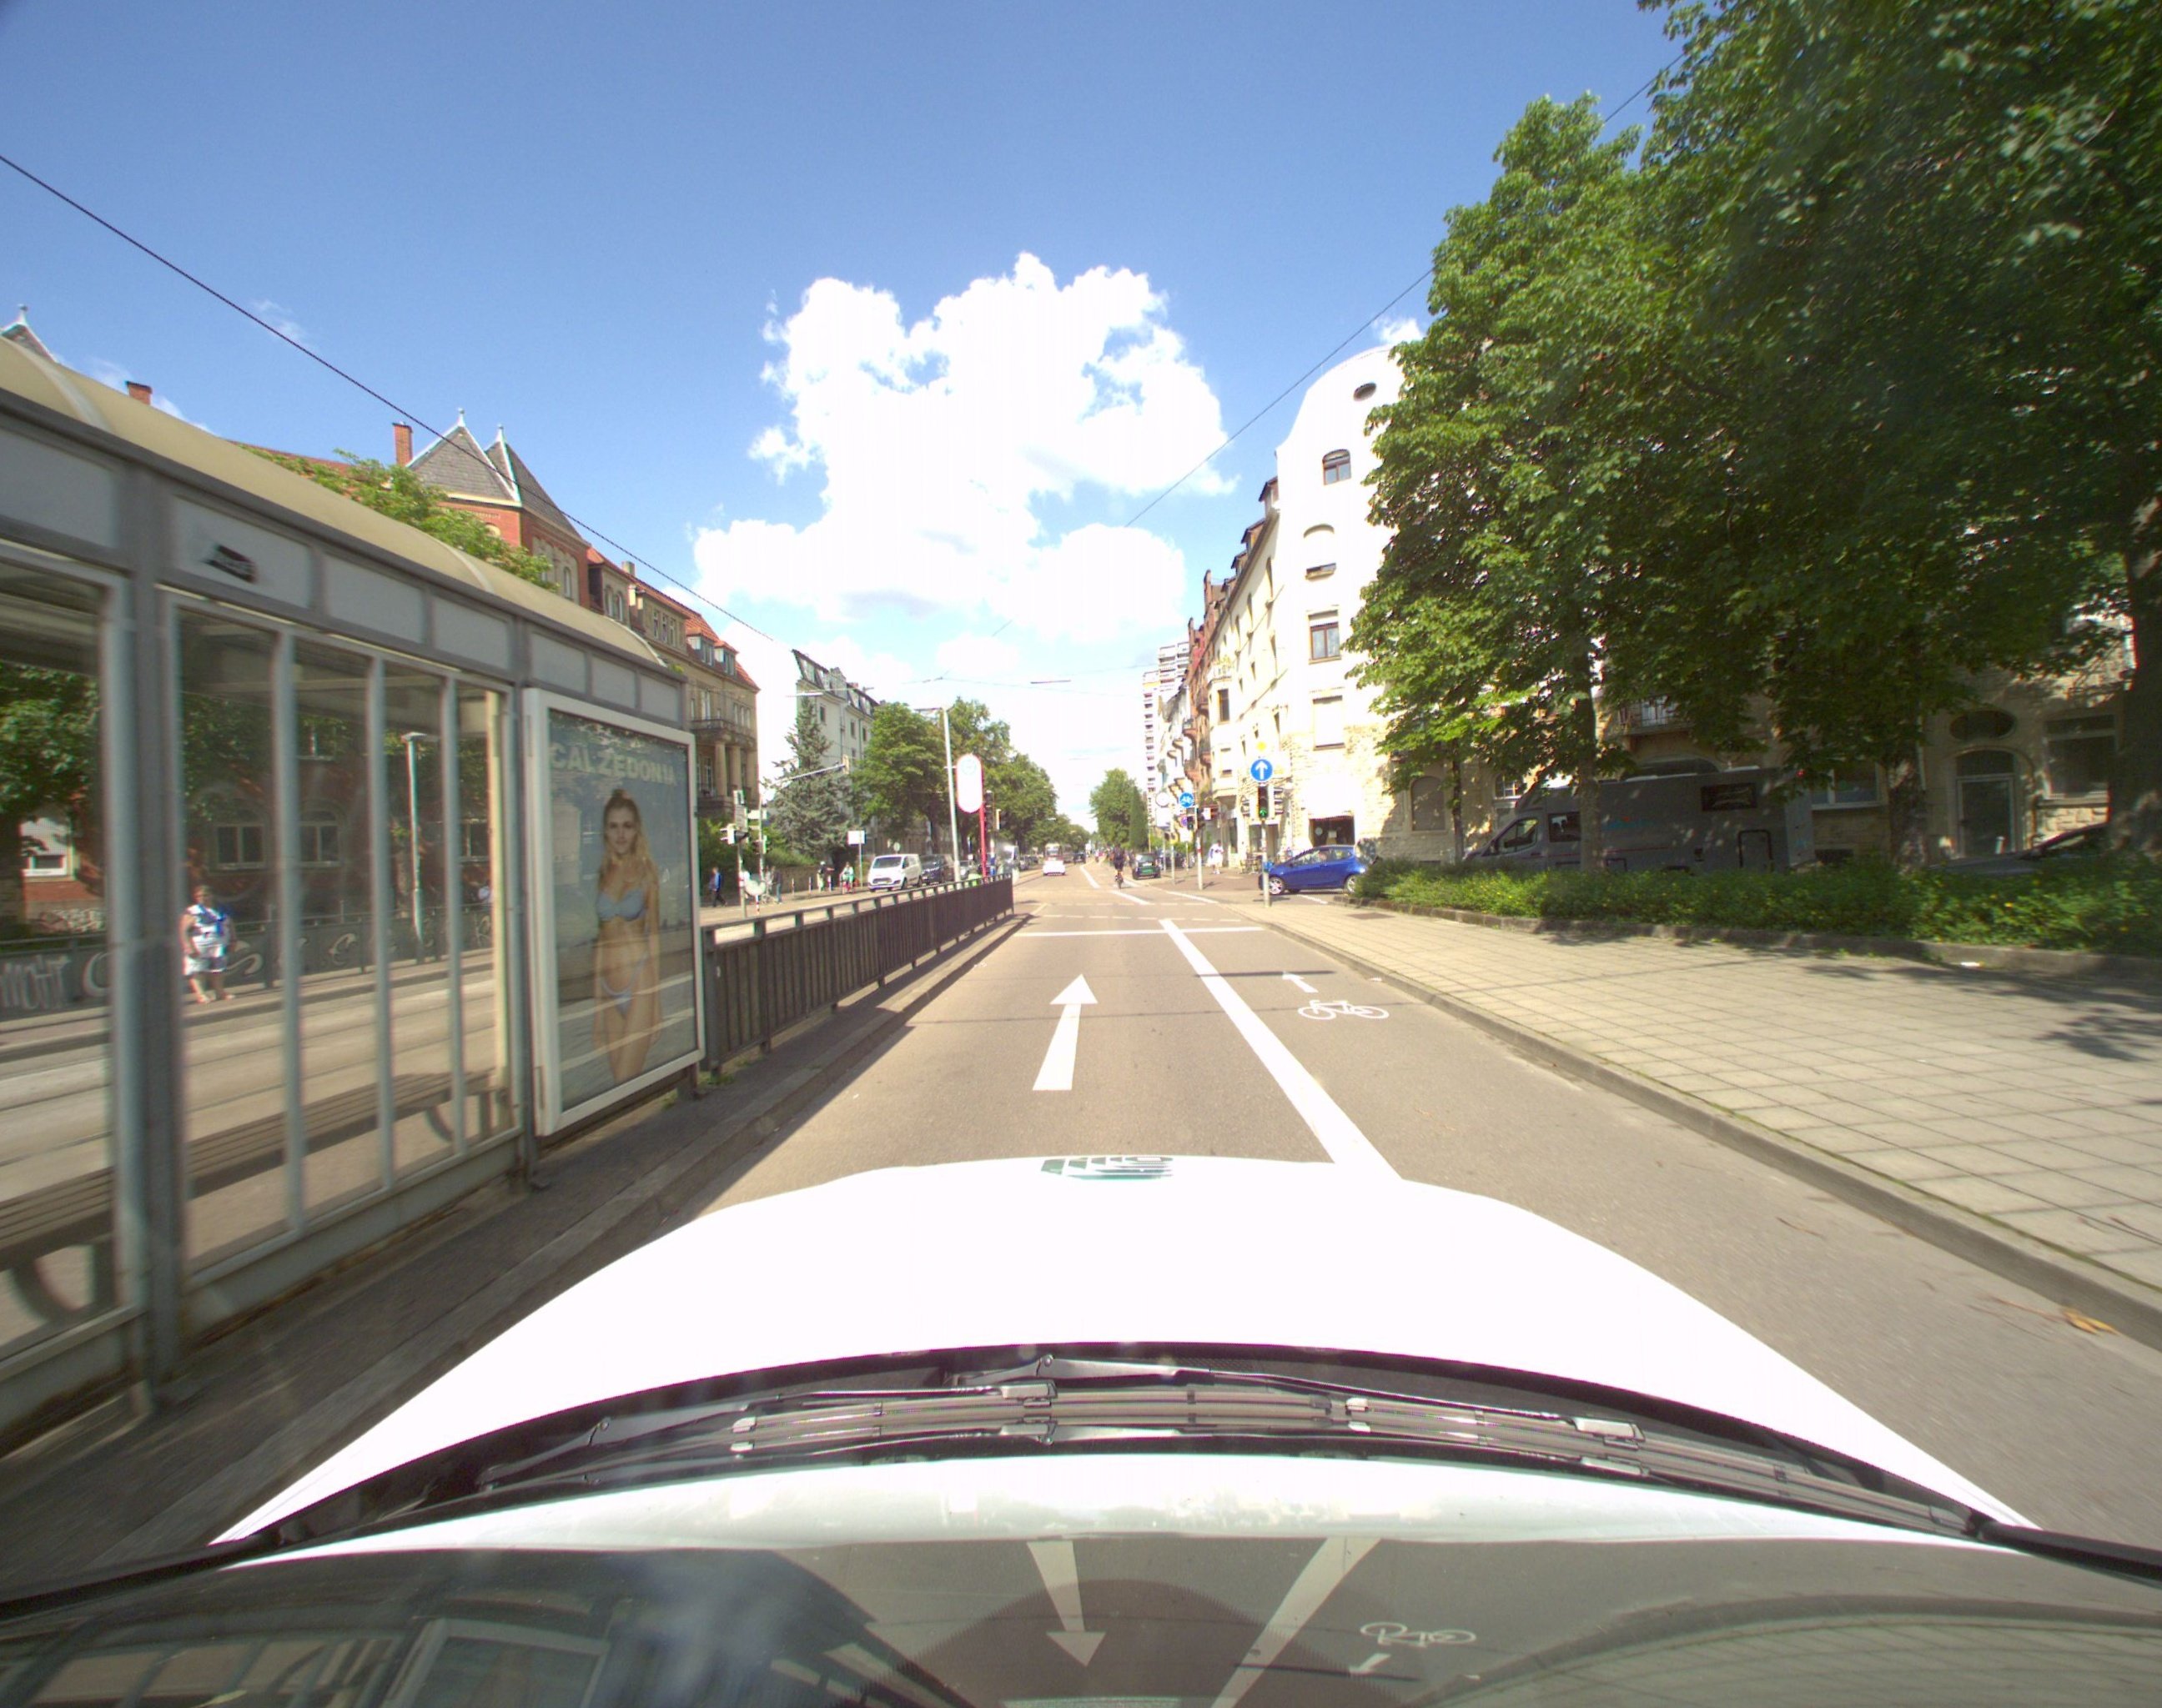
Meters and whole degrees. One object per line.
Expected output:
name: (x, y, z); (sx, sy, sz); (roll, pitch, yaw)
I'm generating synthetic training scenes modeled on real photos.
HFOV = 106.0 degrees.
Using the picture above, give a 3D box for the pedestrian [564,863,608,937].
pedestrian: (-10.663, 0.984, 17.556); (0.535, 1.542, 0.516); (-3, 2, 1)

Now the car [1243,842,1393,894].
car: (7.225, 0.437, 24.992); (3.948, 1.419, 1.904); (-2, 0, 37)

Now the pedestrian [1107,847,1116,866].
pedestrian: (3.044, 0.221, 81.605); (0.786, 1.862, 0.579); (-2, -4, -5)

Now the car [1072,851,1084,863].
car: (-0.424, 0.461, 120.701); (1.659, 1.624, 3.622); (-2, 0, 2)

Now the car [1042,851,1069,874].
car: (-1.835, 0.605, 60.130); (1.658, 1.625, 3.624); (0, -1, 4)

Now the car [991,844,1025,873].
car: (-6.822, 0.364, 76.779); (2.306, 2.507, 6.368); (-2, 1, 3)

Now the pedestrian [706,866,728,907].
pedestrian: (-15.368, 1.340, 34.396); (0.622, 1.698, 0.846); (0, -1, -10)

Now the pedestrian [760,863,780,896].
pedestrian: (-15.565, 1.273, 40.762); (0.515, 1.657, 0.821); (-1, -1, 22)

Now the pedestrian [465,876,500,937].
pedestrian: (-17.147, 1.495, 23.356); (0.465, 1.698, 0.846); (0, -1, -10)

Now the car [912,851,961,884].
car: (-9.157, 0.841, 52.030); (1.920, 1.917, 5.126); (-3, -1, 2)

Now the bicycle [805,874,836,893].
bicycle: (-14.006, 1.587, 43.835); (0.995, 0.933, 1.860); (1, 1, 1)

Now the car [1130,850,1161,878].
car: (3.788, 0.592, 48.334); (1.509, 1.498, 2.793); (-5, 0, 0)

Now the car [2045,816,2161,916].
car: (17.960, 0.147, 12.338); (1.729, 1.539, 3.960); (-3, 0, -21)

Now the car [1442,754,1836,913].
car: (11.636, -0.354, 17.646); (2.404, 2.794, 6.599); (-2, 1, -38)

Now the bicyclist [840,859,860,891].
bicyclist: (-12.334, 1.101, 43.469); (0.835, 1.696, 0.672); (0, -1, 0)

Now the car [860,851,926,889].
car: (-10.214, 0.845, 44.762); (1.984, 1.995, 5.097); (0, -1, 6)

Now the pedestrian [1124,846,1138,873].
pedestrian: (3.531, 0.421, 57.638); (0.658, 1.841, 0.871); (-6, 0, -6)

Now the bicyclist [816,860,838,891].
bicyclist: (-13.669, 1.153, 43.828); (0.947, 1.644, 0.702); (0, -1, 0)

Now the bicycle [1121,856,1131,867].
bicycle: (4.235, 0.683, 76.518); (0.597, 0.961, 3.065); (-6, 0, -1)

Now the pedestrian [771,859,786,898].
pedestrian: (-13.157, 1.067, 35.430); (0.520, 1.657, 0.749); (0, -1, -12)

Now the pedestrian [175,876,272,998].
pedestrian: (-11.181, 1.060, 10.637); (0.426, 1.504, 0.704); (-4, -1, 2)

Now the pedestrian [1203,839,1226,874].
pedestrian: (7.068, 0.140, 43.096); (1.006, 1.768, 0.850); (-4, 1, 2)

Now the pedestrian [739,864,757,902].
pedestrian: (-14.621, 1.263, 35.741); (0.611, 1.657, 0.723); (0, 1, -12)

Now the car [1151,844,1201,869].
car: (6.884, 0.168, 59.213); (3.386, 1.523, 1.974); (-4, 0, 4)

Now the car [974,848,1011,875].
car: (-7.440, 0.698, 68.925); (1.976, 1.963, 5.188); (-3, -3, 7)

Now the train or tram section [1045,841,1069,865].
train or tram section: (-3.728, -0.086, 130.037); (2.642, 3.436, 12.321); (-4, -1, 2)

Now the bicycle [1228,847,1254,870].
bicycle: (8.591, 0.233, 43.831); (0.802, 1.177, 2.751); (0, -1, -1)

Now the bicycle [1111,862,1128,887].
bicycle: (1.695, 0.904, 36.005); (0.613, 1.045, 1.836); (-5, -2, 2)

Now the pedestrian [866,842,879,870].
pedestrian: (-15.409, 0.153, 60.217); (0.479, 2.014, 0.810); (-1, -1, 34)

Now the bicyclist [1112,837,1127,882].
bicyclist: (1.704, 0.257, 35.986); (0.605, 1.948, 1.131); (0, -1, 2)

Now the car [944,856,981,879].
car: (-8.615, 0.940, 59.555); (1.685, 1.480, 4.488); (-3, 0, 4)

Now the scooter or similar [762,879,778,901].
scooter or similar: (-13.433, 1.541, 35.193); (0.548, 0.922, 0.498); (0, -1, -12)

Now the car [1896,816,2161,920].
car: (14.992, 0.165, 11.570); (1.837, 1.369, 4.455); (-2, 0, -20)

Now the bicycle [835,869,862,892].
bicycle: (-12.358, 1.413, 43.312); (0.842, 1.160, 1.955); (0, -1, 0)
